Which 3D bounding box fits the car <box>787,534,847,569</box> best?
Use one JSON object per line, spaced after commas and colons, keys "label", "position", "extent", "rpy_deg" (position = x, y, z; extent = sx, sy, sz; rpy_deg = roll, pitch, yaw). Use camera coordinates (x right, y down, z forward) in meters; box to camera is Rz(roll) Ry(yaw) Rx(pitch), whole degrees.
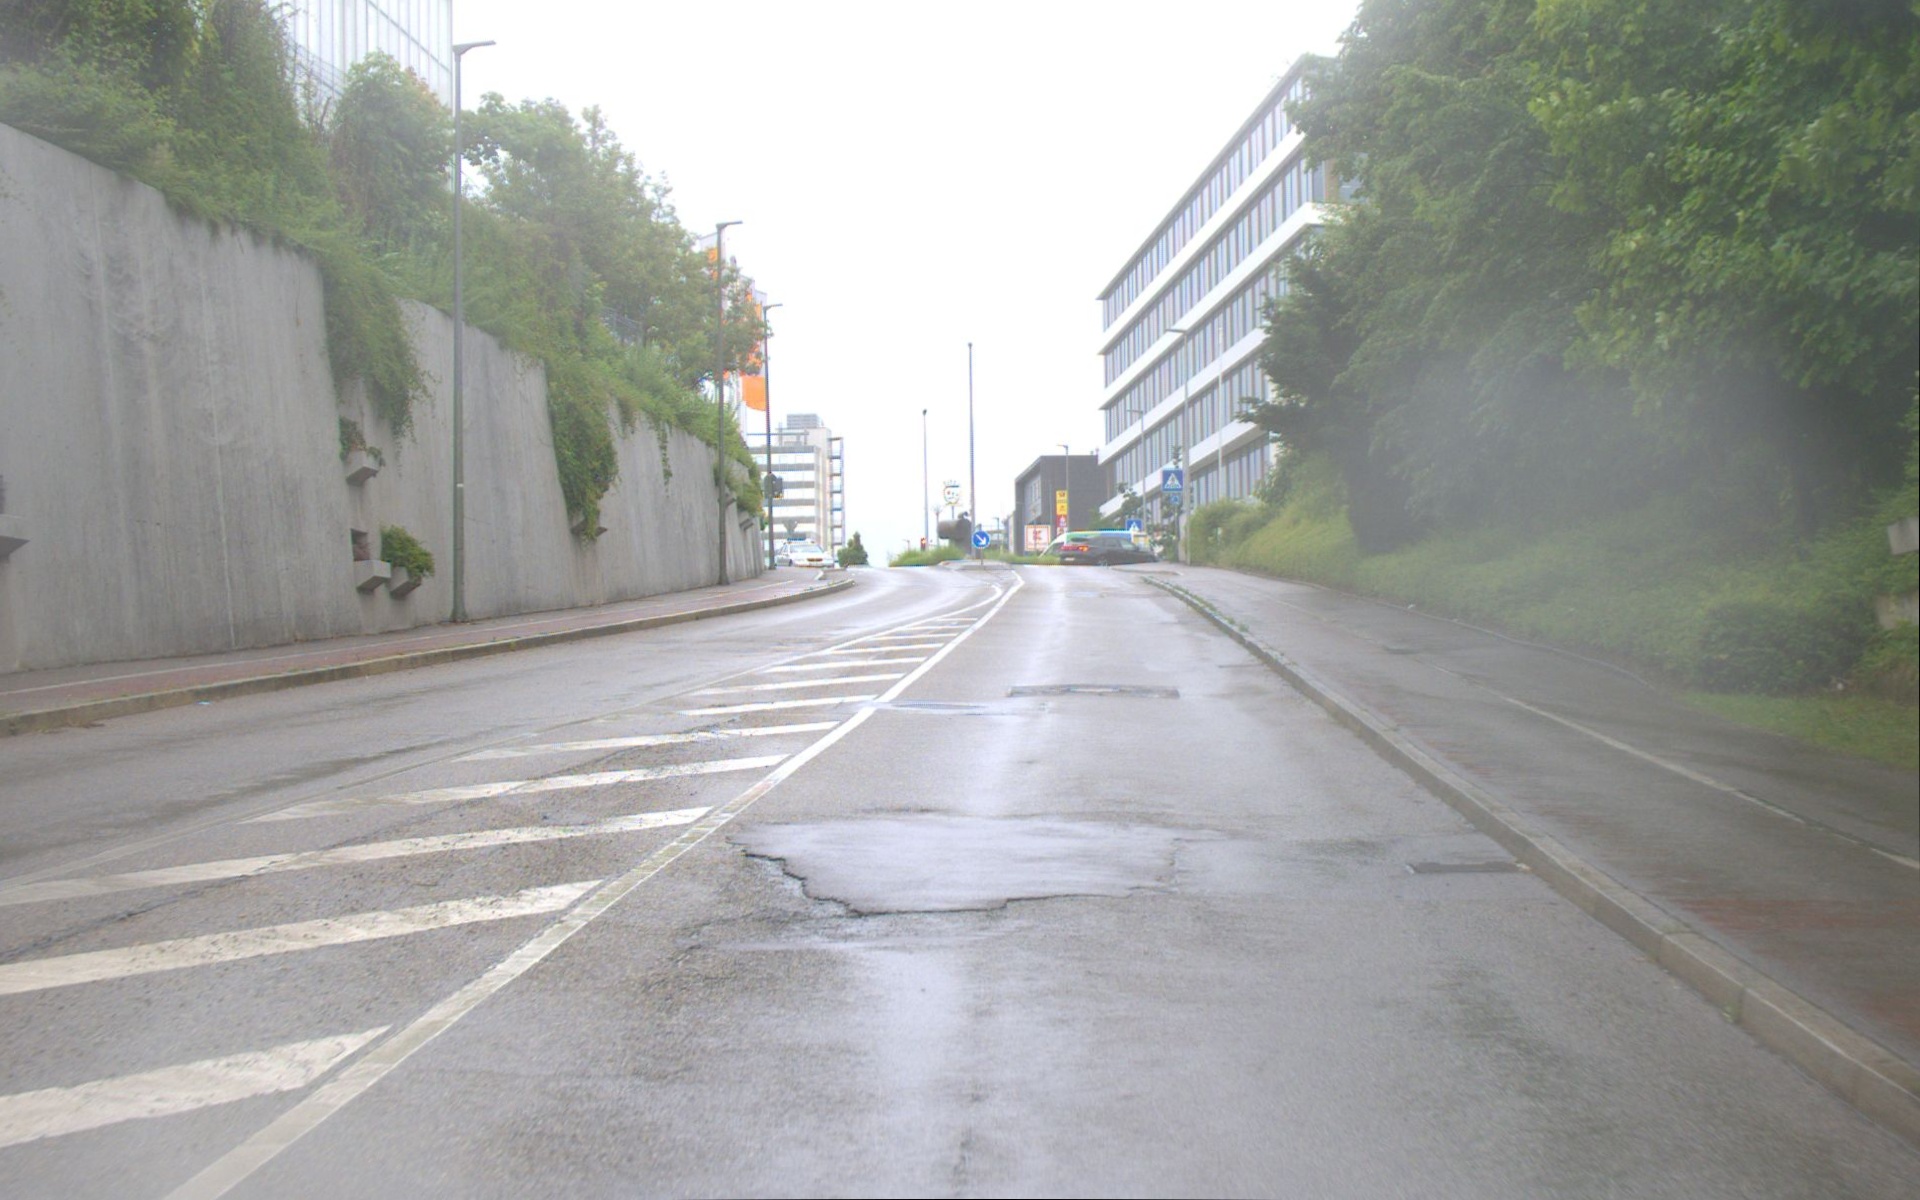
{"label": "car", "position": [-5.914, -2.007, 141.959], "extent": [1.639, 1.357, 4.251], "rpy_deg": [2, 1, -13]}

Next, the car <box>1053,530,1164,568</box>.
{"label": "car", "position": [5.980, -2.044, 138.249], "extent": [4.204, 1.405, 1.799], "rpy_deg": [0, -2, 11]}

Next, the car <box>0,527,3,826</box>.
{"label": "car", "position": [-5.571, 0.396, 14.800], "extent": [1.513, 1.443, 3.816], "rpy_deg": [1, 1, 6]}
